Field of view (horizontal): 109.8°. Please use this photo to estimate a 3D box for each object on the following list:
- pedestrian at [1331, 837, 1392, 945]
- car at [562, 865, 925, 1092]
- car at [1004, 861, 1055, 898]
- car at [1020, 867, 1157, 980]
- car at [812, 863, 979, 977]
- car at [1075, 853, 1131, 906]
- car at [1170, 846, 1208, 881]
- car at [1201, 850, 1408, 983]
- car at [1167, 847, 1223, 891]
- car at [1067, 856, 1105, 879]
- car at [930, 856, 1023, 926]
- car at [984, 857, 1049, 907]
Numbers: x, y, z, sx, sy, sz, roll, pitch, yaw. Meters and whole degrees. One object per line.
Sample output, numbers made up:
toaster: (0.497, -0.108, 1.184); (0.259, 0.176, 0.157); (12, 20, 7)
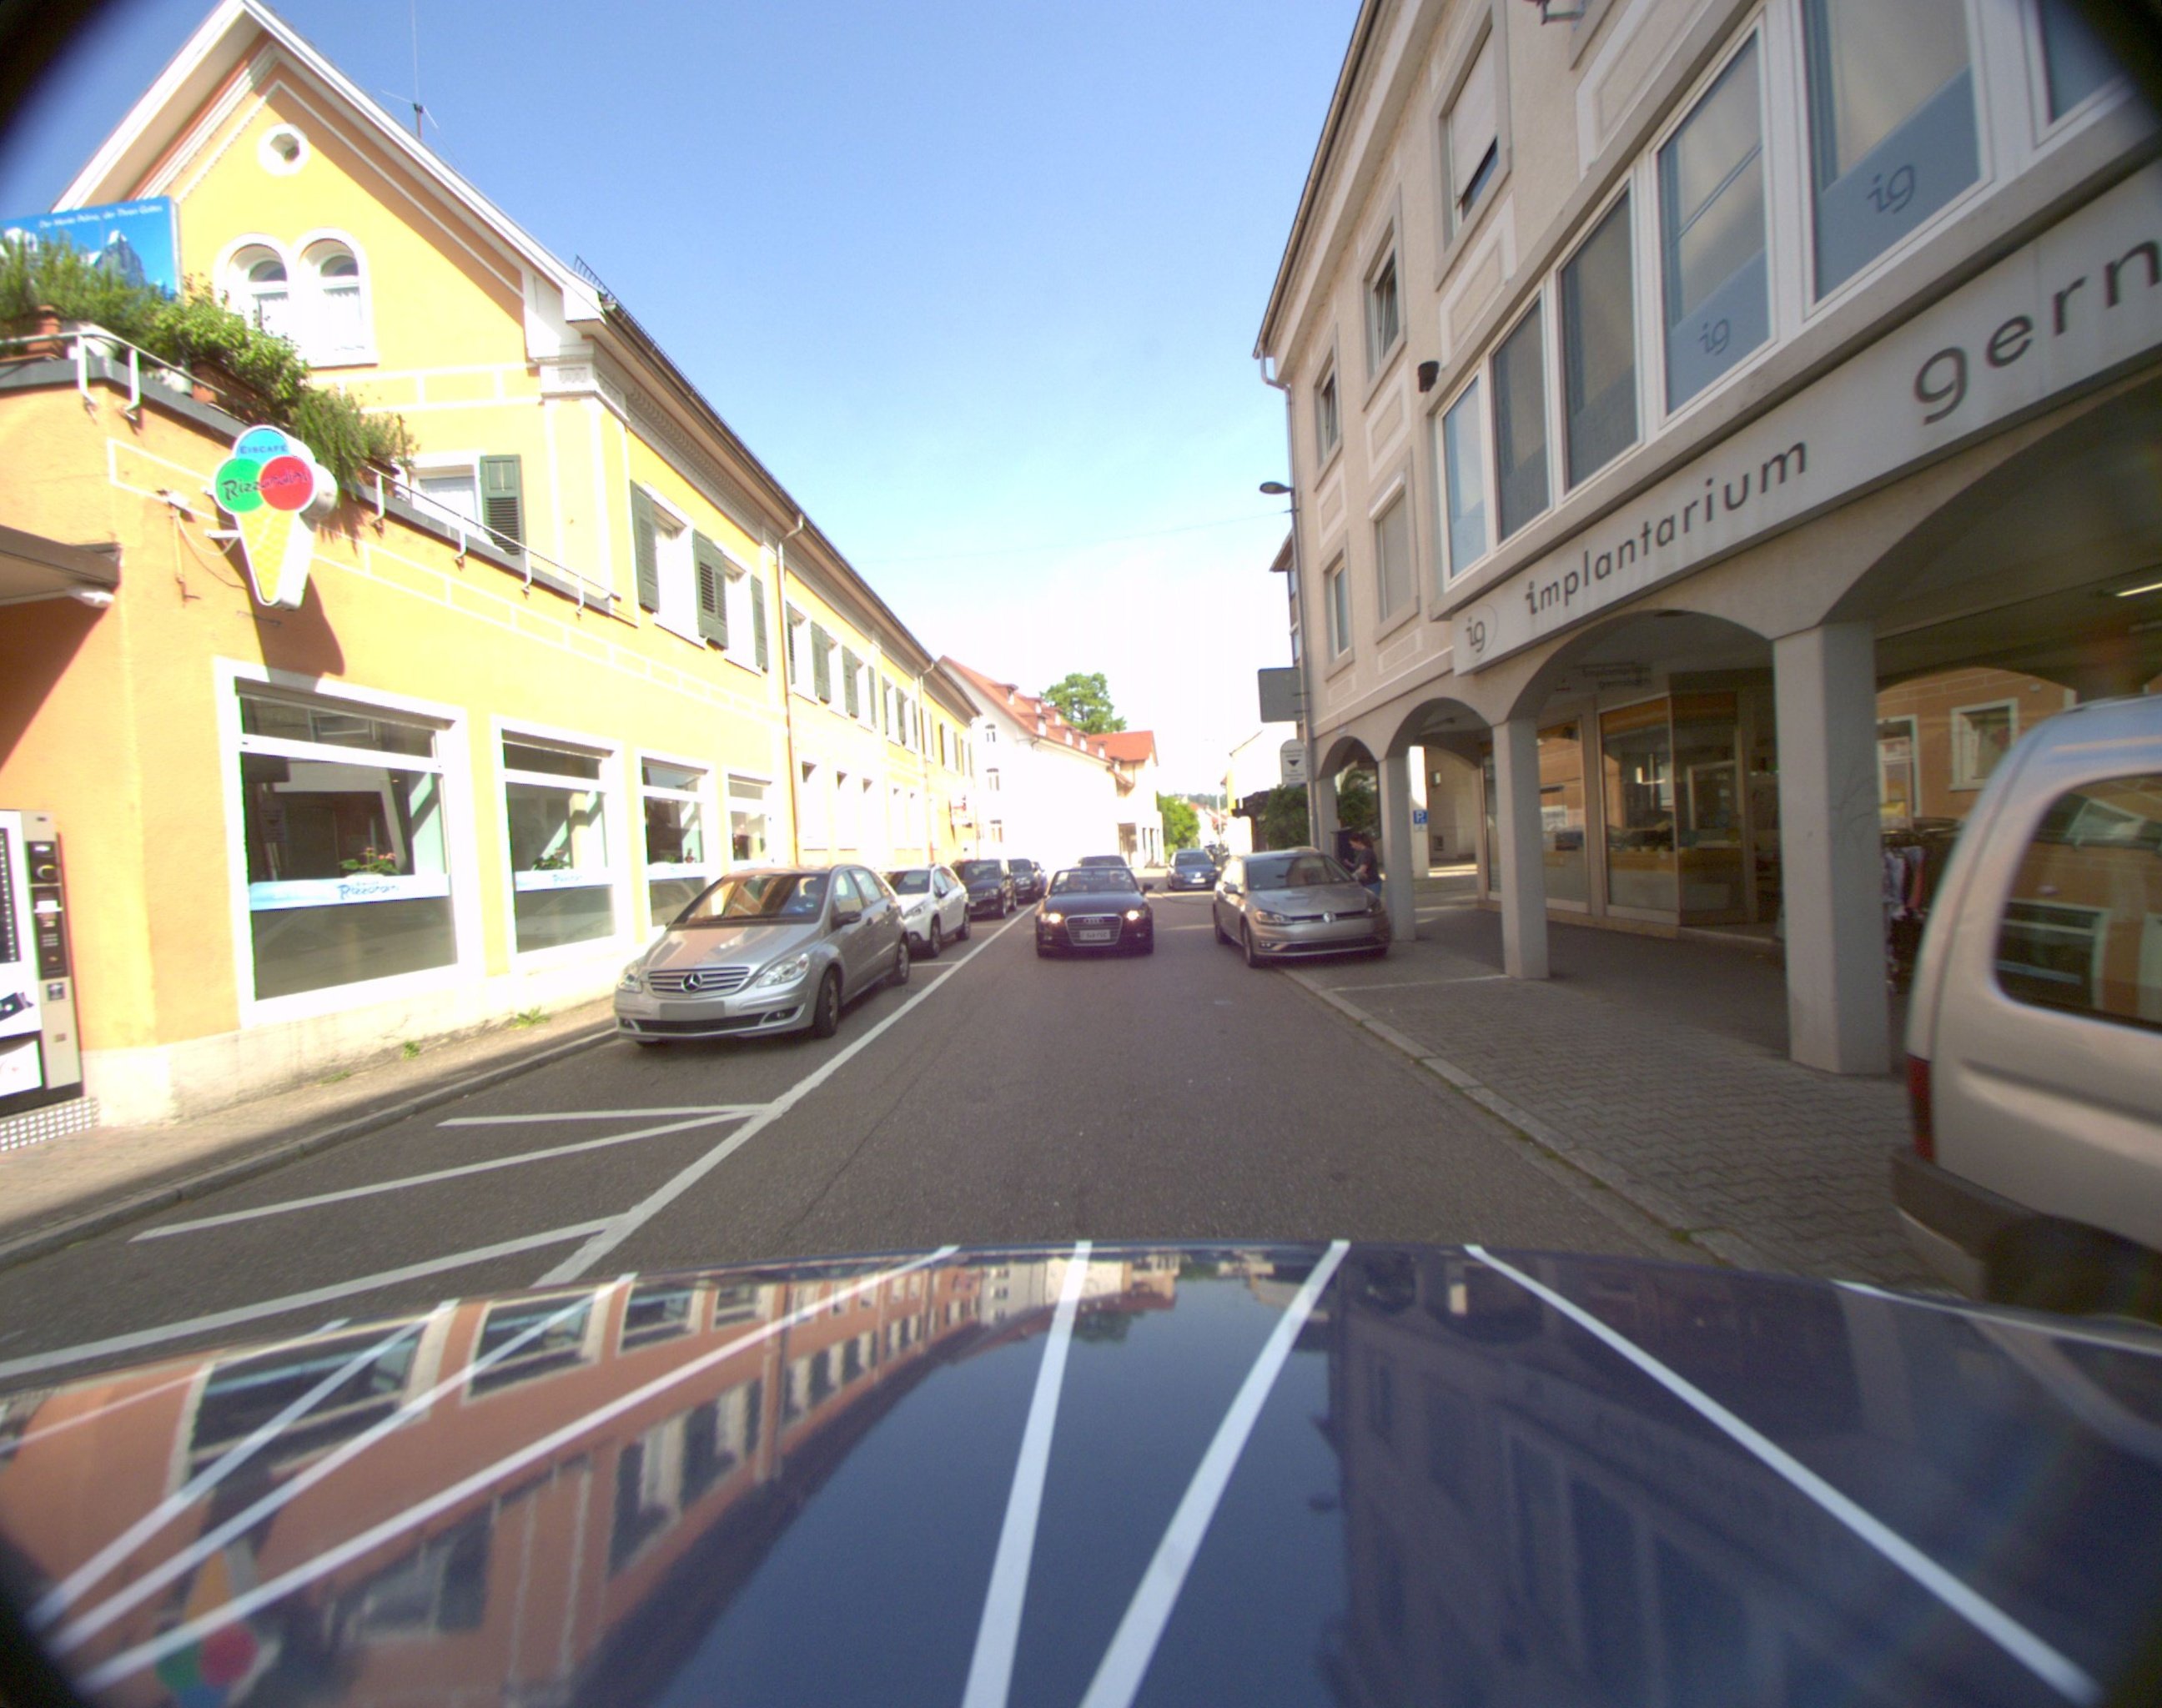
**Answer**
pedestrian: (4.192, 0.545, 11.372); (0.622, 1.542, 0.534); (-3, 1, -2)
car: (-3.107, 1.008, 8.222); (1.749, 1.588, 4.594); (-3, 0, 0)
car: (-2.133, 1.051, 32.382); (1.682, 1.311, 3.696); (-3, 0, 3)
car: (0.210, 0.948, 12.047); (1.754, 1.348, 4.200); (-2, 0, 3)
car: (-3.074, 1.026, 13.505); (1.682, 1.549, 4.104); (-3, 0, 3)
car: (0.787, 0.806, 25.630); (1.682, 1.552, 3.971); (-3, 0, 3)
car: (5.584, 0.435, 39.003); (1.681, 1.658, 3.974); (-3, 0, 11)
car: (2.964, 0.725, 11.120); (1.807, 1.461, 4.455); (-3, 0, 2)
car: (4.441, 0.560, 30.220); (1.769, 1.552, 3.971); (-3, 0, 3)
car: (0.378, 0.827, 47.532); (1.526, 1.237, 4.038); (-3, 0, 13)
car: (-2.733, 0.920, 20.815); (1.682, 1.636, 4.251); (-2, 0, 3)
car: (-2.176, 0.922, 26.781); (1.682, 1.531, 4.187); (-2, 0, 3)
